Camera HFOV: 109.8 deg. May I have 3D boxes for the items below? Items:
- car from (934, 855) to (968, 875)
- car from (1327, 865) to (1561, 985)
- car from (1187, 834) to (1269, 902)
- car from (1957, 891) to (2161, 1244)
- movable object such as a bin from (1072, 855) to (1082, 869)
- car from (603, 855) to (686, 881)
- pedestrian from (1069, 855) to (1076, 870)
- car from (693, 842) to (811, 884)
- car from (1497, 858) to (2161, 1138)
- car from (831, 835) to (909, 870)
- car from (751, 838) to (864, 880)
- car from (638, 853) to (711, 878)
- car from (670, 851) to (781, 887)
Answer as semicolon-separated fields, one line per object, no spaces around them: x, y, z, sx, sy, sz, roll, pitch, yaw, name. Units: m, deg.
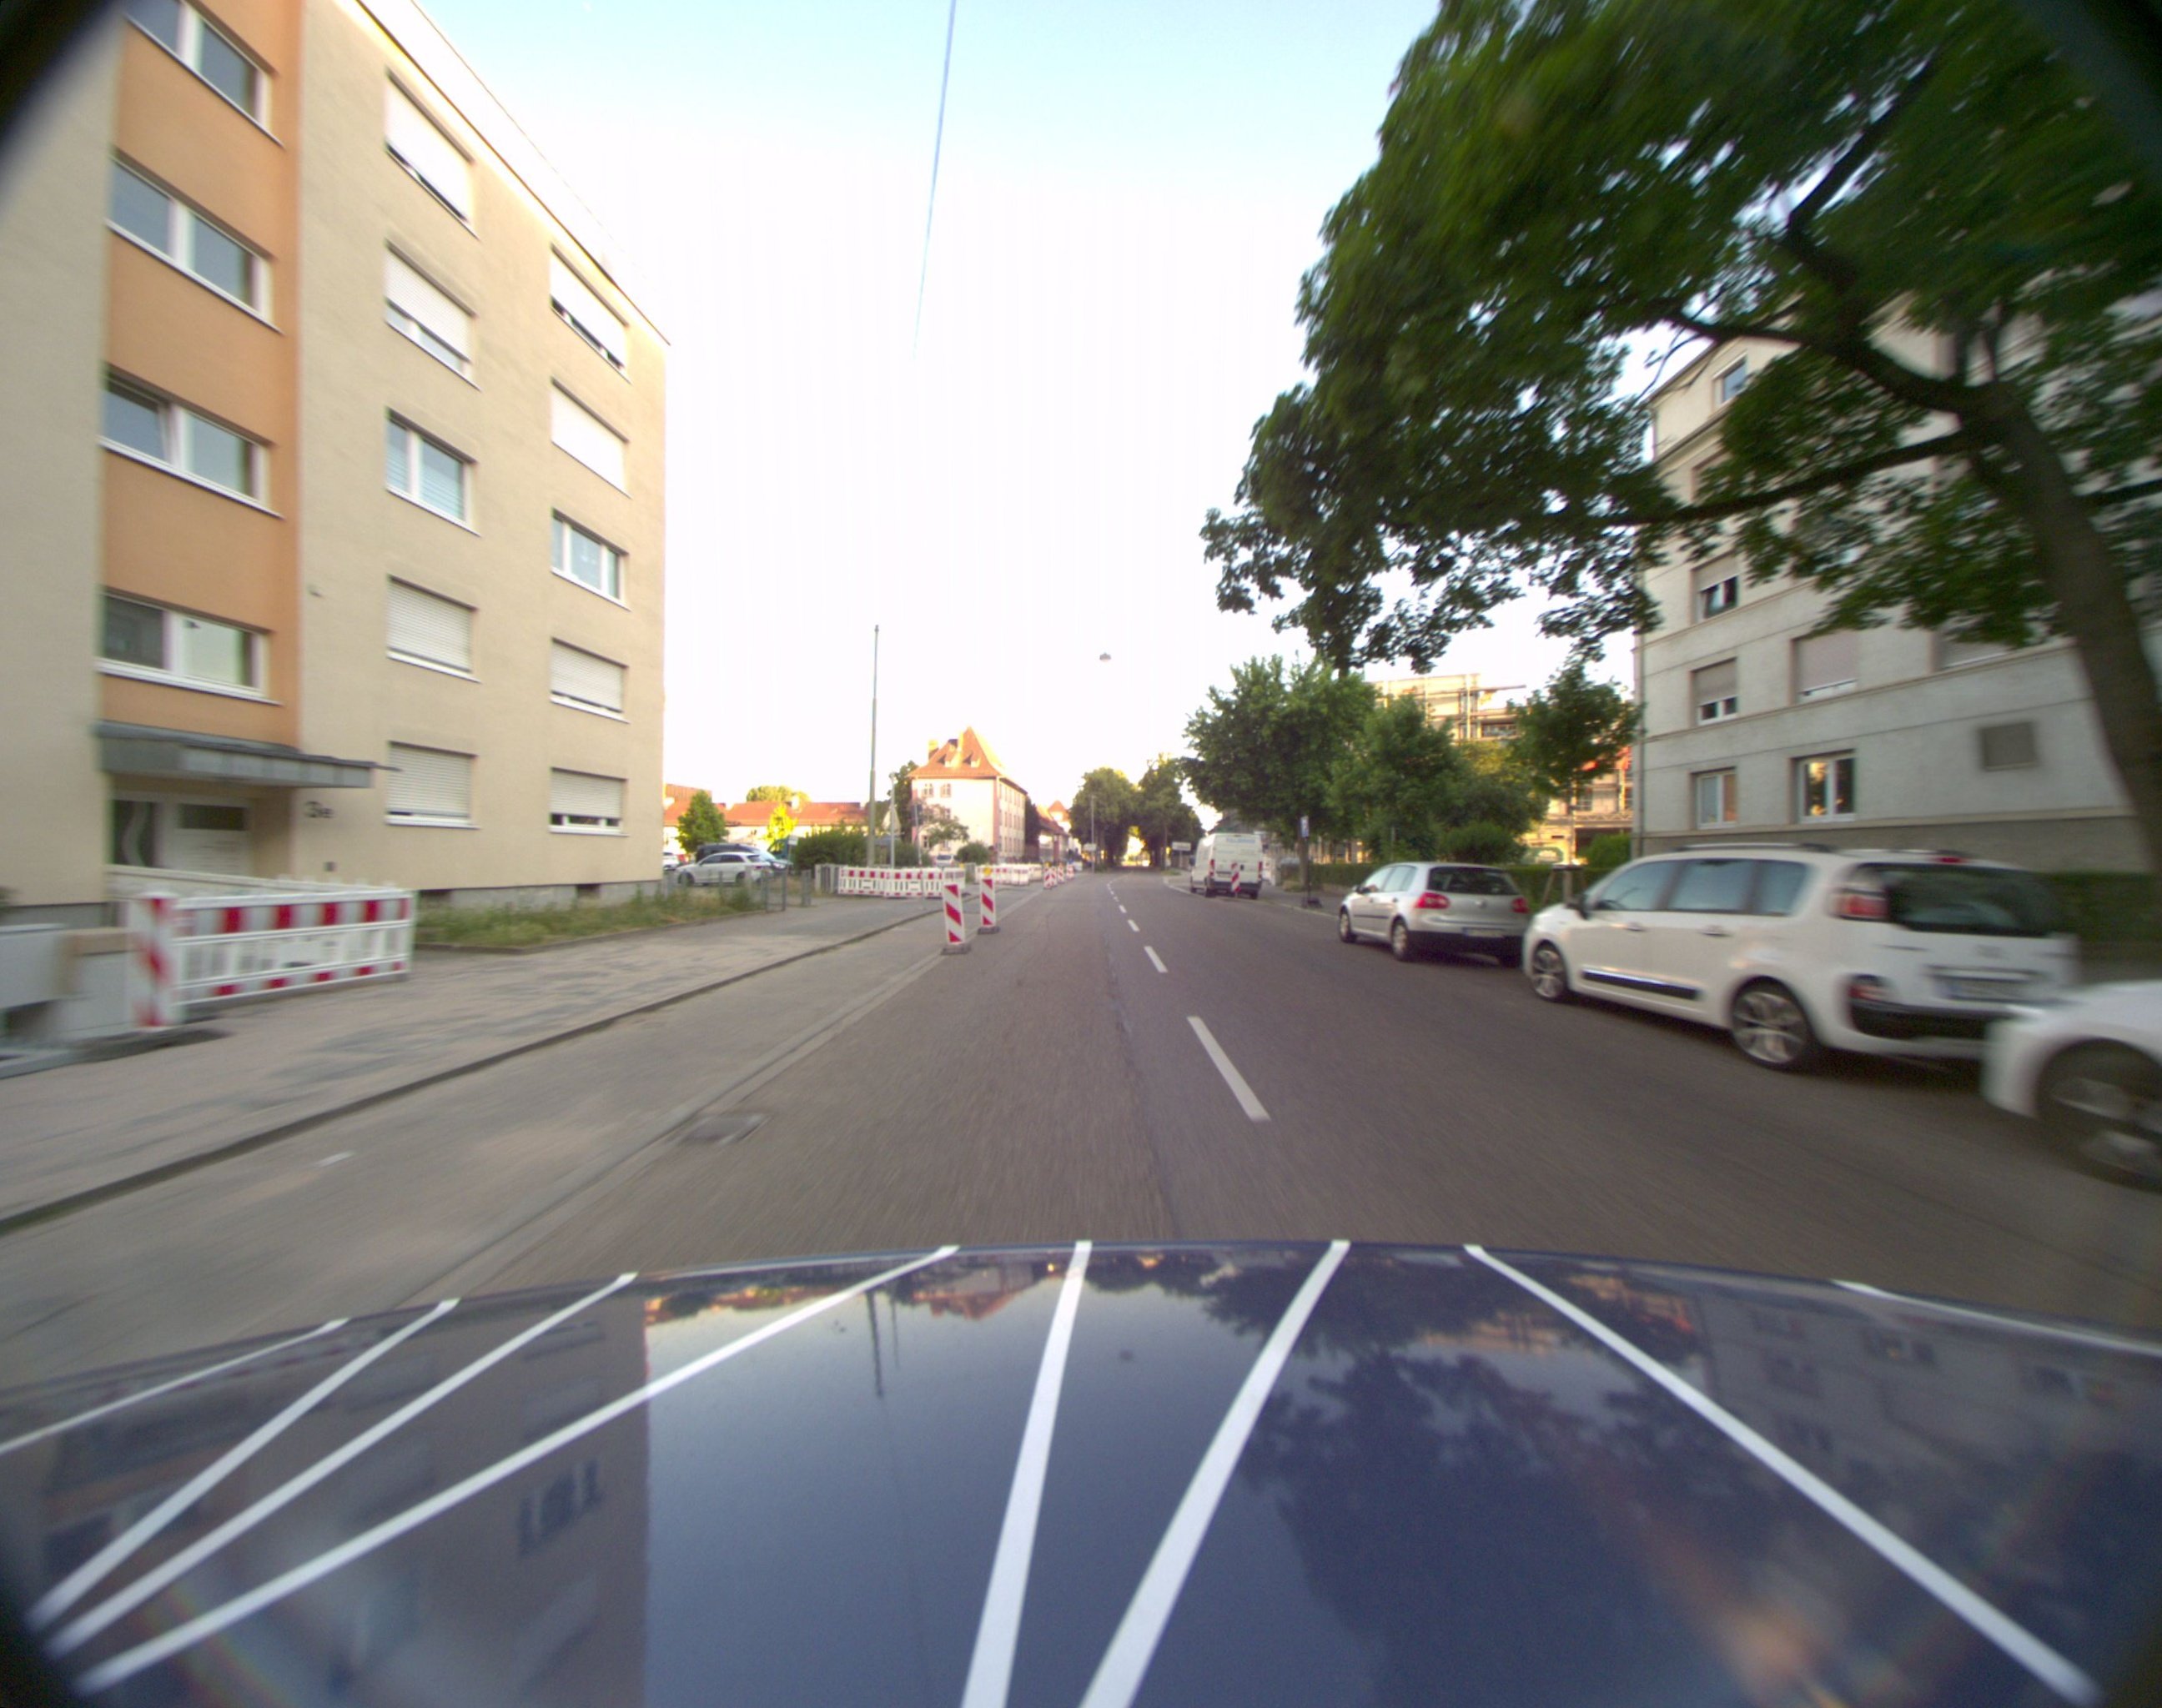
-10.781;0.877;63.380;1.919;1.620;4.808;0;0;1;car
5.433;0.965;12.069;1.756;1.463;4.224;3;0;2;car
5.920;0.540;31.520;2.184;2.446;6.103;3;0;1;car
5.455;0.953;2.001;1.756;1.471;3.945;3;0;2;car
-0.451;0.908;85.122;0.977;1.600;0.634;0;0;-4;movable object such as a bin
-26.247;0.836;45.743;3.926;1.508;2.001;0;0;6;car
-0.950;0.923;84.679;0.716;1.600;0.518;-1;0;-4;pedestrian
-14.842;0.400;34.415;4.489;1.800;2.005;0;0;3;car
5.702;0.887;6.652;1.757;1.622;4.107;3;0;-1;car
-13.697;-0.108;49.381;4.433;2.184;2.001;-1;0;5;car
-14.112;0.269;39.379;5.030;2.117;2.292;-1;0;8;car
-25.956;0.735;48.558;3.726;1.508;1.829;0;0;10;car
-14.810;0.628;31.757;3.839;1.444;1.695;0;0;3;car
